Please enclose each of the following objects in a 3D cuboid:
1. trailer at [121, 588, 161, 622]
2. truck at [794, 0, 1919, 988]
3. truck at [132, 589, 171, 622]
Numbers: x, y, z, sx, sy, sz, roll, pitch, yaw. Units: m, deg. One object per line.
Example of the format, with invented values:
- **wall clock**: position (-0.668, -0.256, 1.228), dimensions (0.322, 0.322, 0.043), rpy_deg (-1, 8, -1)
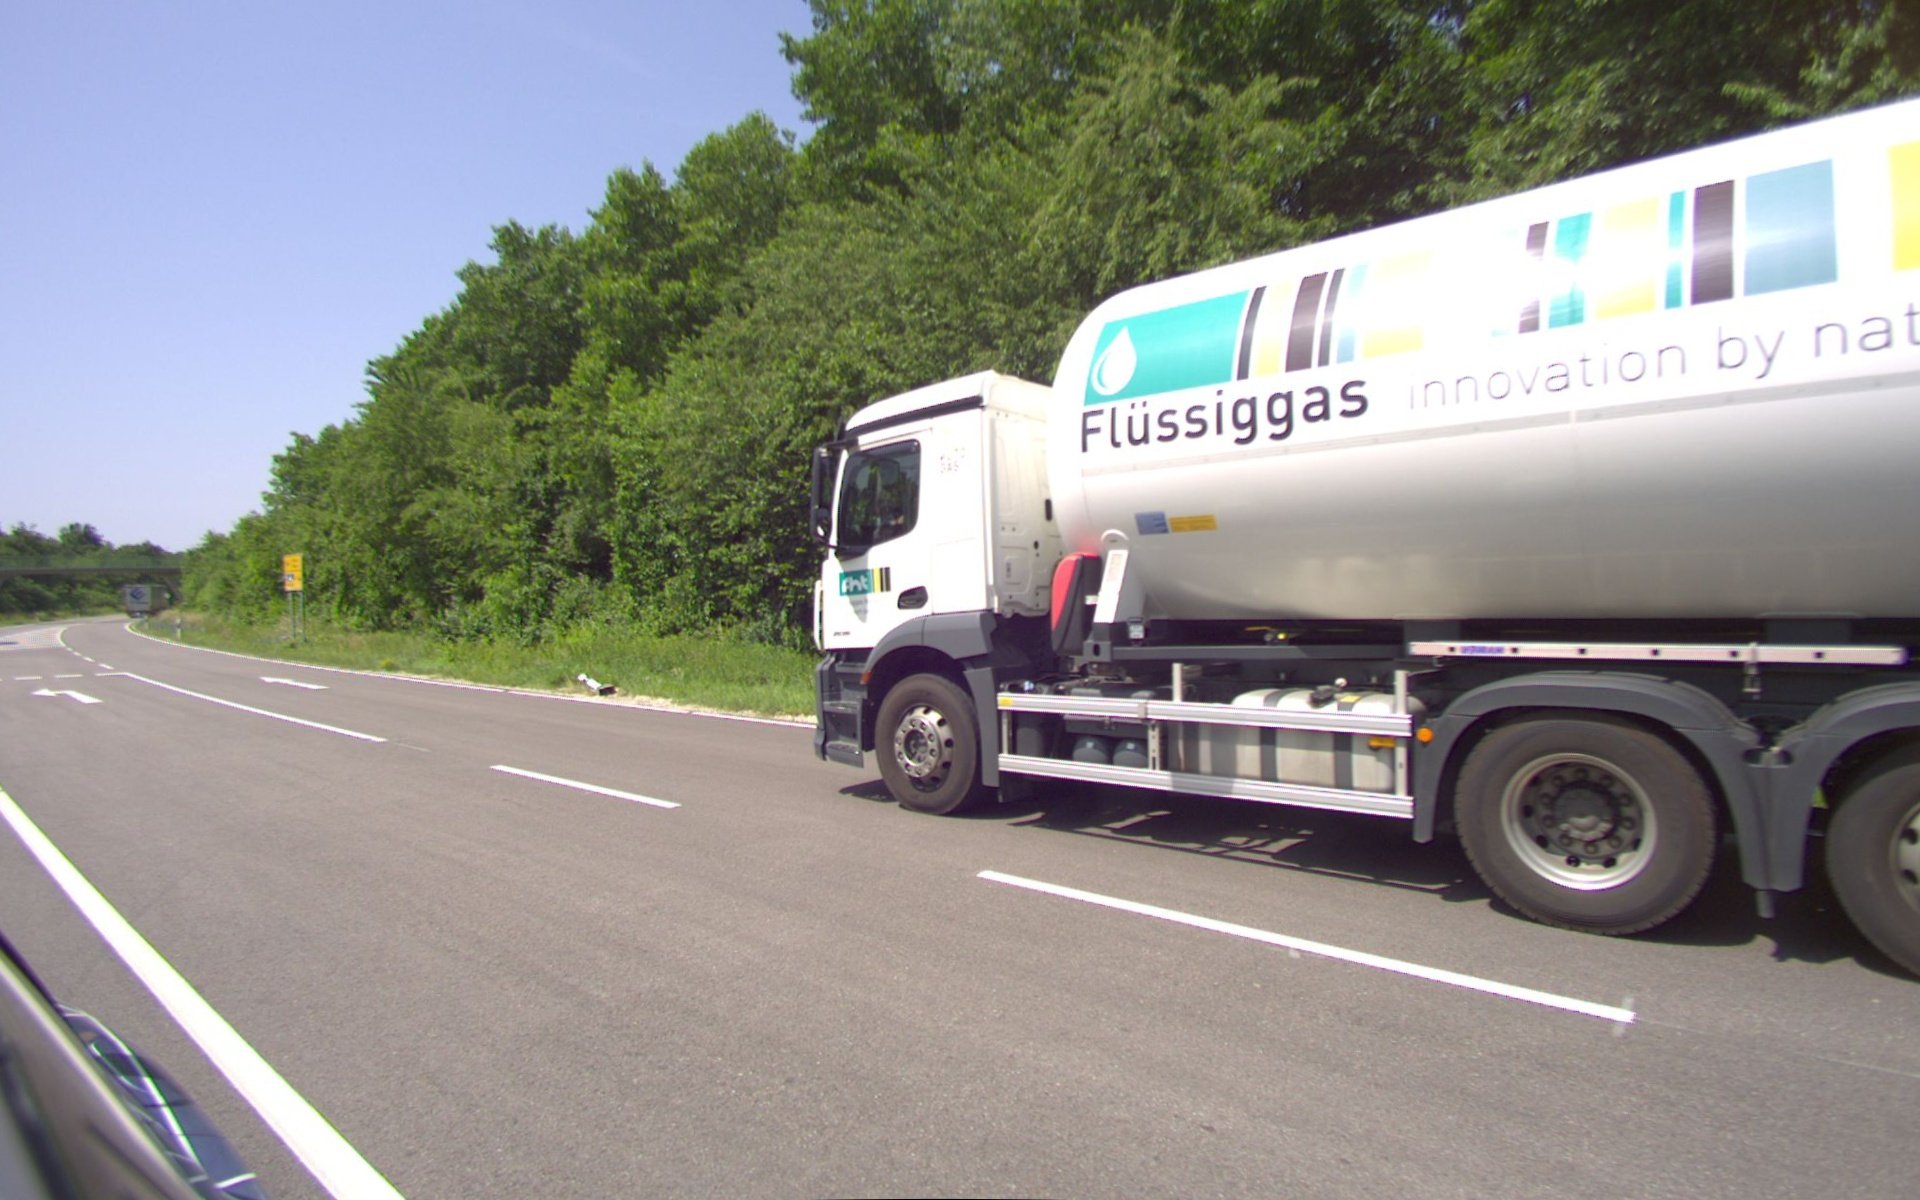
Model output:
- **trailer**: position (-103.037, 0.656, 127.485), dimensions (2.789, 4.126, 9.027), rpy_deg (-1, 0, -32)
- **truck**: position (2.890, -0.444, 5.841), dimensions (8.792, 3.698, 2.600), rpy_deg (-1, 0, 41)
- **truck**: position (-107.623, 0.730, 134.899), dimensions (2.760, 4.126, 11.094), rpy_deg (-1, 0, -32)
